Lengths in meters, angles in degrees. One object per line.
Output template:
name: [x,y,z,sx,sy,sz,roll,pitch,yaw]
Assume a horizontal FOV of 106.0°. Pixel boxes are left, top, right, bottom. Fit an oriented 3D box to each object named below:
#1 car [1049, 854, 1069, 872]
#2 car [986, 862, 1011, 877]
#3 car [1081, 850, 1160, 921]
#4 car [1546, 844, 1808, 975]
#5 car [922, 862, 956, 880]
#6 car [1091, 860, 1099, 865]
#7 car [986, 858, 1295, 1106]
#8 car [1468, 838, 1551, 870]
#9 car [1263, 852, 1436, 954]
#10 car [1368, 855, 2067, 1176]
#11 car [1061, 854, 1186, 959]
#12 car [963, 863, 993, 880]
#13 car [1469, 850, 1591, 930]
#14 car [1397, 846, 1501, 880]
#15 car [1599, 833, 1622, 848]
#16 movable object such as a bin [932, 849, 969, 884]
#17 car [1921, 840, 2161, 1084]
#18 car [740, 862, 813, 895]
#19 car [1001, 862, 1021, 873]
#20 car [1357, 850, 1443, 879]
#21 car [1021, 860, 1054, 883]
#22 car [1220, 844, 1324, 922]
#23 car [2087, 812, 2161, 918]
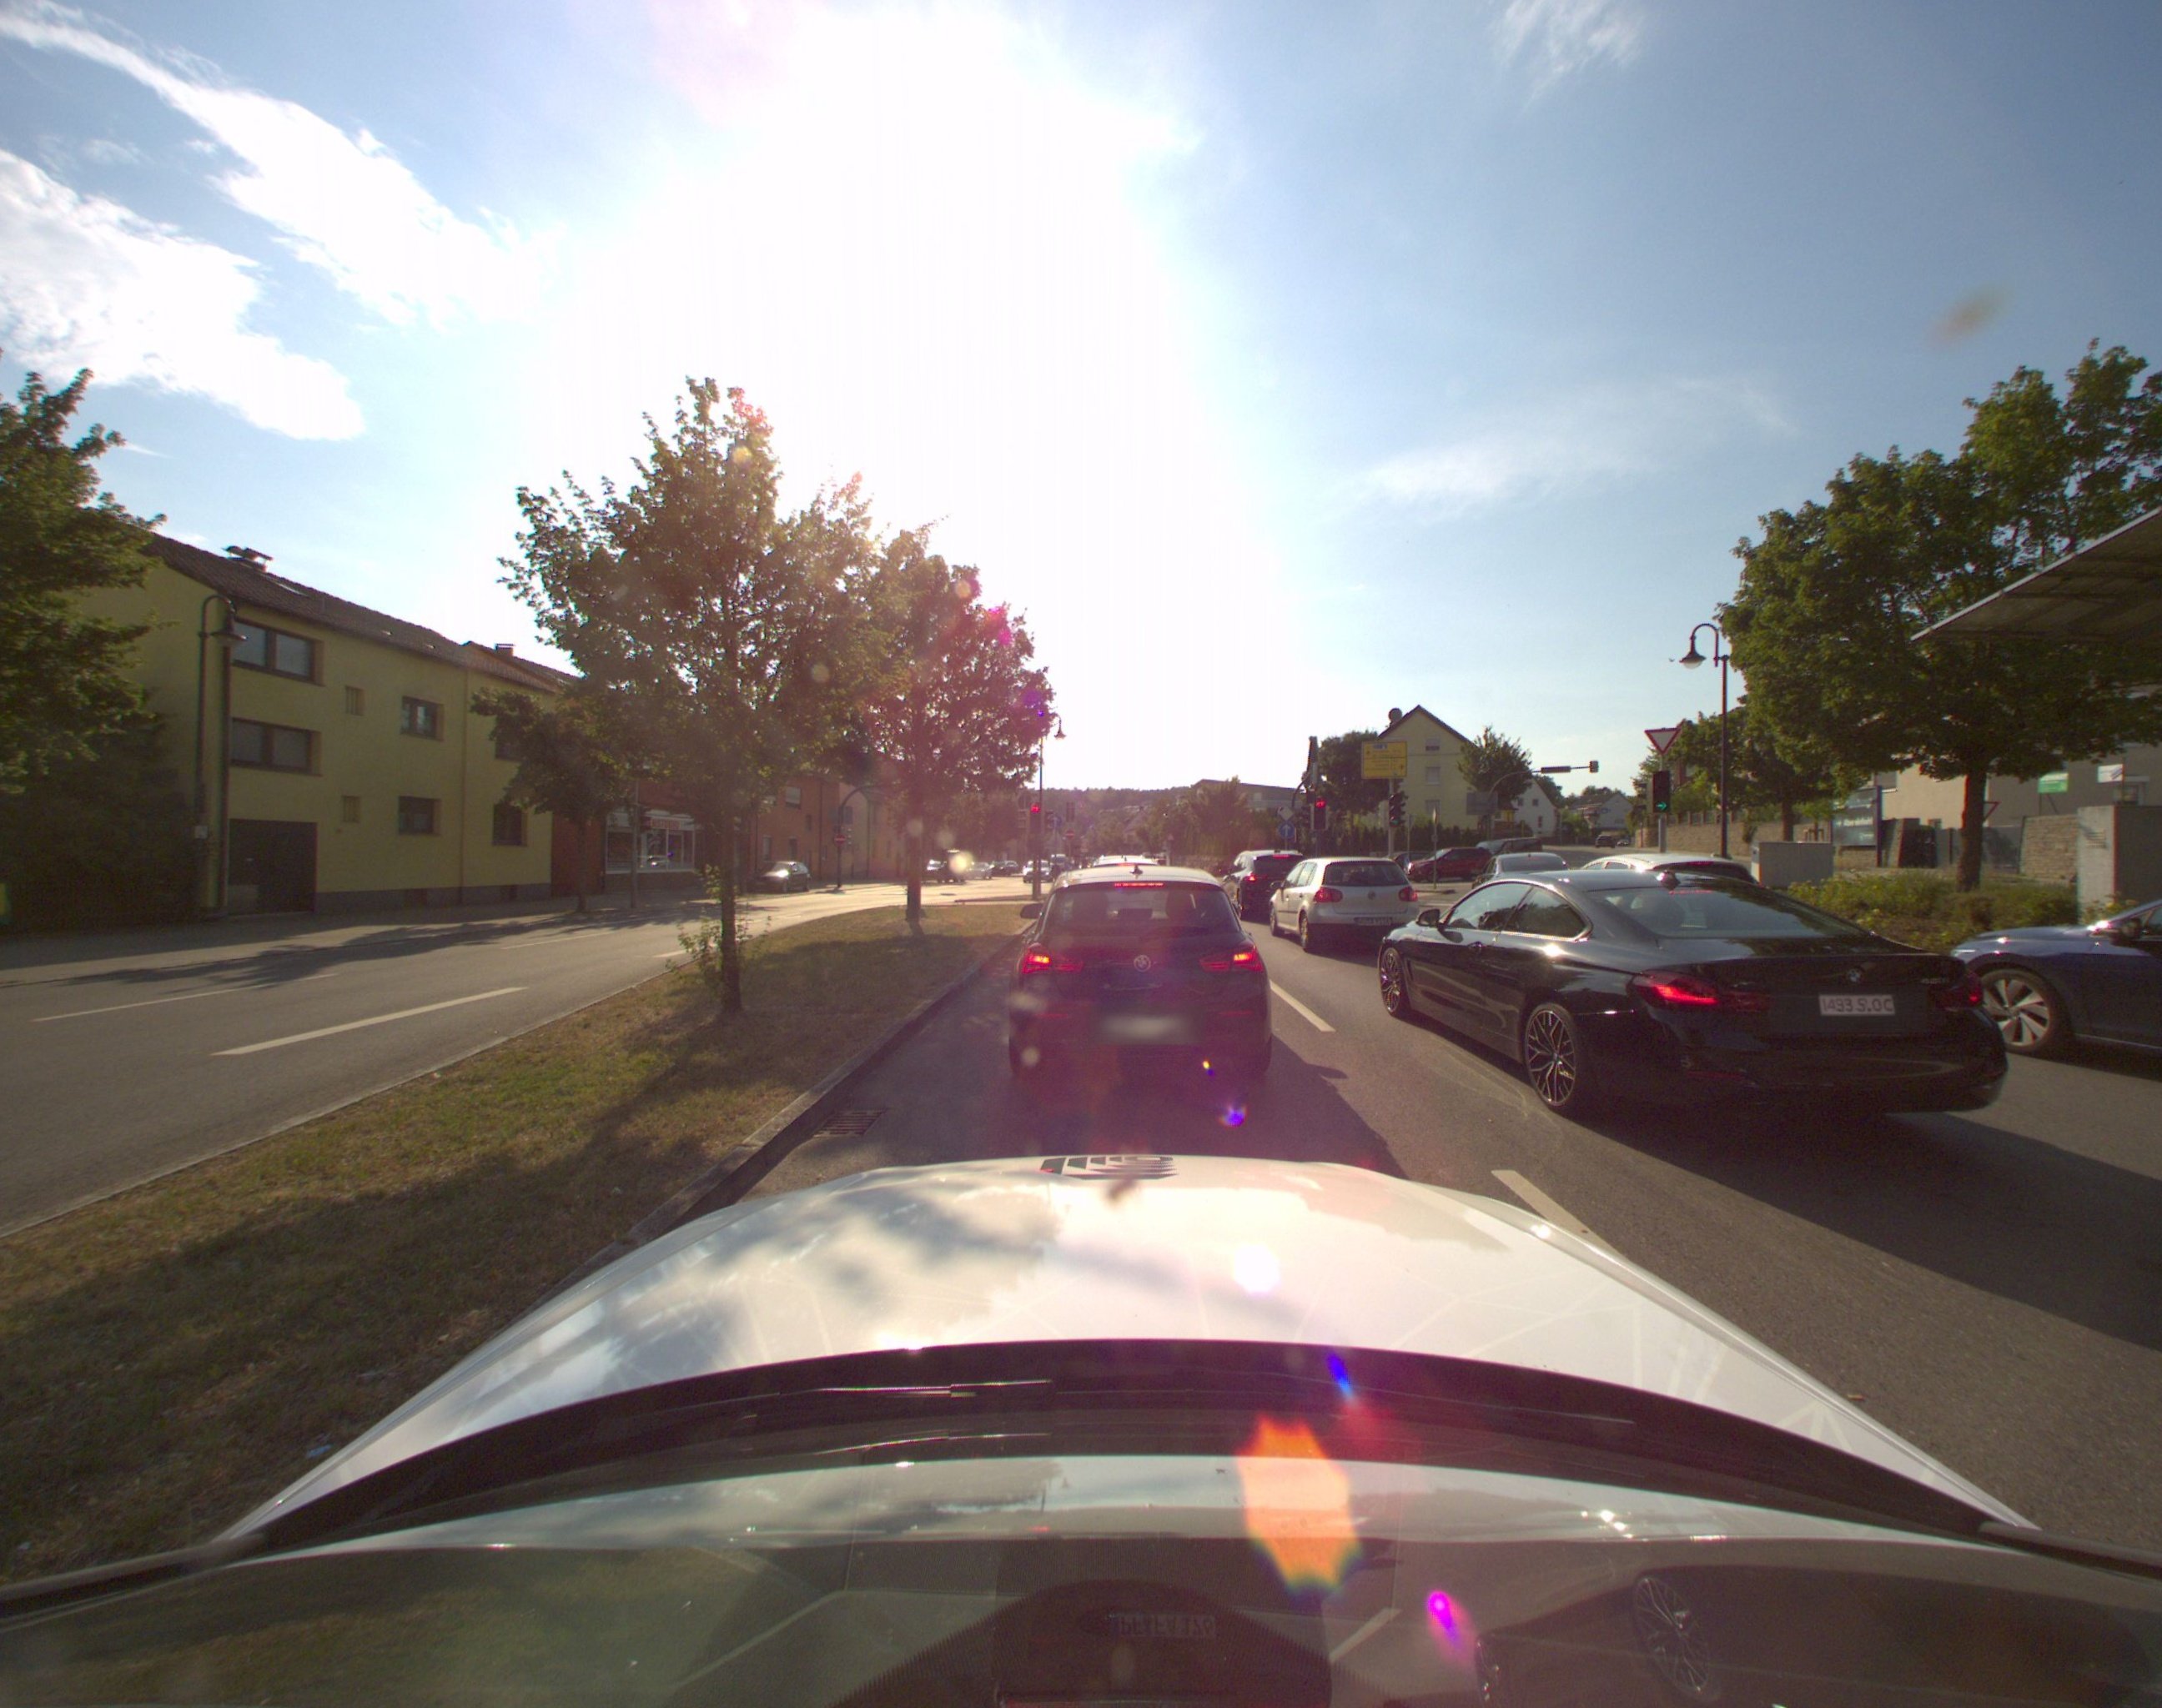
car: [-2.907,1.186,107.183,2.075,2.394,5.534,0,0,4]
car: [-8.414,1.558,83.193,1.729,1.301,3.804,4,0,5]
car: [1.022,0.737,21.151,1.781,1.594,4.283,-2,0,2]
car: [8.113,0.668,11.465,1.608,1.542,3.326,-2,0,9]
car: [-11.744,1.420,67.594,1.728,1.301,4.006,4,0,6]
car: [3.968,2.534,232.125,1.729,1.301,3.804,4,0,5]
car: [0.444,0.770,6.968,1.781,1.397,4.283,-2,0,2]
car: [24.556,-0.026,46.614,4.796,1.739,1.831,0,0,-28]
car: [4.324,0.713,13.763,1.755,1.426,3.905,-2,0,2]
car: [3.622,0.737,5.823,1.755,1.397,4.283,-2,0,2]
car: [0.721,0.777,14.112,1.781,1.494,4.283,-2,0,2]
car: [-8.918,1.501,70.991,1.729,1.301,3.804,4,0,5]
car: [9.884,0.710,18.239,1.642,1.542,4.420,-2,0,19]
car: [18.350,0.451,40.738,4.410,1.641,1.845,0,0,-6]
car: [64.772,-1.636,99.615,1.946,1.680,4.242,-2,0,38]
movable object such as a bin: [-9.500,0.904,59.690,1.729,2.442,4.452,-1,0,3]
car: [7.401,0.649,4.239,1.754,1.453,4.323,-2,0,4]
car: [-14.137,1.111,38.032,1.730,1.301,4.002,4,0,2]
car: [-8.841,1.683,103.258,1.729,1.301,3.804,4,0,5]
car: [17.347,0.564,44.361,3.974,1.489,1.848,0,0,-1]
car: [-2.951,1.150,55.737,1.832,1.482,4.002,-1,0,2]
car: [4.571,0.646,20.045,1.755,1.656,3.905,-2,0,2]
car: [18.496,0.154,12.386,3.793,1.632,1.784,0,0,10]
